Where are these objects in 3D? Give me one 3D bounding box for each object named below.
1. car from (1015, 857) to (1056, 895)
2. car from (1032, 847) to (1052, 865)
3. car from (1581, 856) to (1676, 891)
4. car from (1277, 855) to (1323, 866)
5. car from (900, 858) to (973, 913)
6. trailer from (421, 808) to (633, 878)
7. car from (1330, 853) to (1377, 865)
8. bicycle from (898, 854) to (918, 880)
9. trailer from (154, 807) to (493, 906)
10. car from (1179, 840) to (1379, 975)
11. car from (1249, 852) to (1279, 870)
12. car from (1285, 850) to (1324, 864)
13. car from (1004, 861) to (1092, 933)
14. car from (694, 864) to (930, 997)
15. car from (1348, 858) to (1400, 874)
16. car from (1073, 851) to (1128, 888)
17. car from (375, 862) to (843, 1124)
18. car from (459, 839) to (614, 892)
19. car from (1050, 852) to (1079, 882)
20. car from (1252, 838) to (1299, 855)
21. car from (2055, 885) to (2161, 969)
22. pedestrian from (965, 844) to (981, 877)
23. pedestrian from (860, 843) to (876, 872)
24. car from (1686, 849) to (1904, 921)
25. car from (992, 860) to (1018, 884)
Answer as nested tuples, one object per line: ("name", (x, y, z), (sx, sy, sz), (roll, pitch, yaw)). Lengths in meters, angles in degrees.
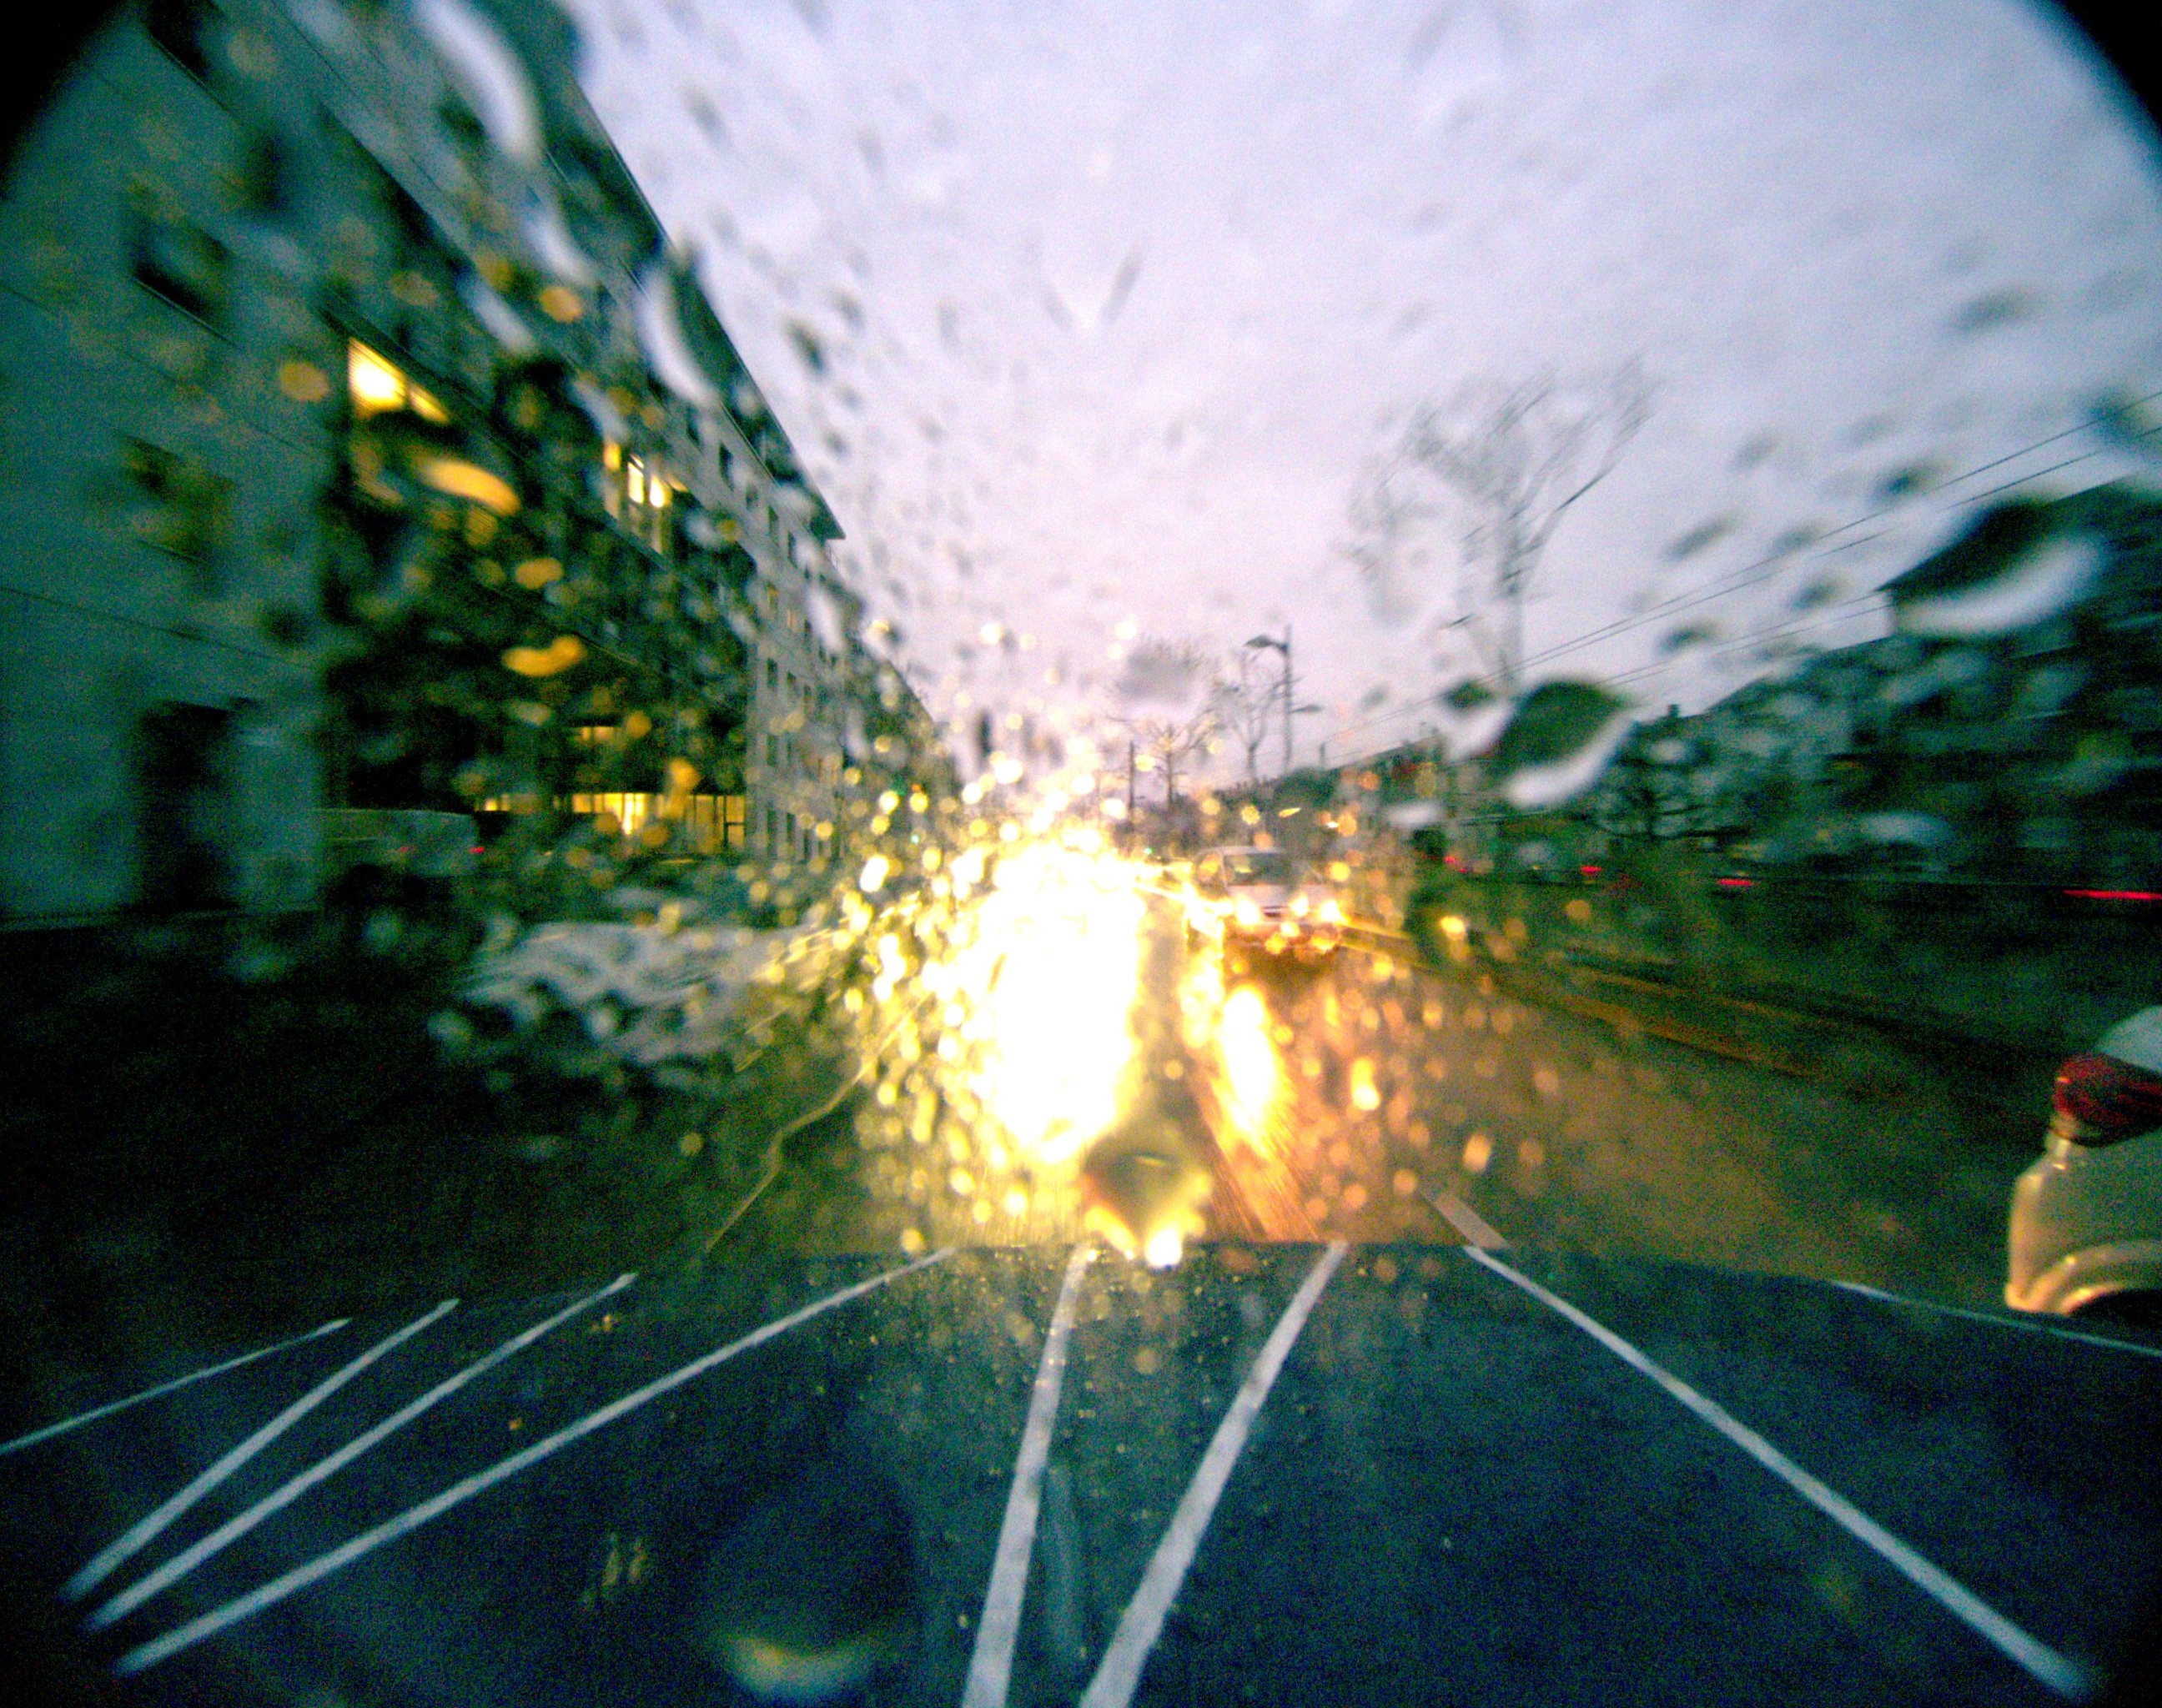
("car", (-2.084, 0.963, 34.960), (1.764, 1.520, 3.732), (-1, 1, -3))
("car", (-4.314, 0.209, 84.479), (1.999, 1.774, 3.695), (-1, 1, -1))
("car", (23.719, 0.804, 33.058), (1.591, 1.350, 3.373), (-1, 1, -3))
("car", (22.874, 0.659, 79.380), (4.393, 1.125, 1.250), (0, 2, 30))
("car", (-4.169, 0.861, 22.507), (1.600, 1.432, 4.227), (2, 0, -4))
("trailer", (-21.048, -0.388, 29.180), (6.277, 2.566, 2.208), (0, 0, -8))
("car", (25.629, 0.475, 71.500), (3.989, 1.125, 1.364), (-1, 2, 32))
("bicycle", (-7.862, 0.578, 34.644), (0.552, 1.109, 2.165), (1, 1, -4))
("trailer", (-15.707, 0.072, 15.968), (5.079, 1.900, 2.131), (0, -1, 2))
("car", (2.794, 0.657, 11.719), (2.021, 1.667, 3.999), (-1, 1, 0))
("car", (16.876, 0.623, 70.302), (1.527, 1.630, 3.746), (0, 1, -6))
("car", (24.803, 0.356, 84.383), (4.002, 1.496, 1.315), (0, 2, 31))
("car", (-0.849, 0.896, 17.420), (1.758, 1.418, 3.802), (-1, 0, -6))
("car", (-3.378, 0.872, 10.489), (1.759, 1.395, 4.249), (1, 0, 0))
("car", (25.402, 1.030, 65.905), (3.989, 1.248, 1.446), (-1, 2, 30))
("car", (0.810, 0.628, 33.724), (1.976, 1.492, 4.089), (-2, 0, -5))
("car", (-3.098, 0.787, 5.880), (1.596, 1.386, 3.485), (1, 0, -4))
("car", (-15.744, 0.268, 22.298), (1.637, 1.363, 4.527), (2, 1, -6))
("car", (-1.113, 0.812, 48.814), (1.730, 1.730, 4.052), (-1, 1, -3))
("car", (26.307, -1.048, 102.904), (5.893, 2.242, 1.824), (0, 2, 30))
("car", (25.266, 1.711, 16.993), (1.696, 1.749, 3.998), (-1, 1, -4))
("pedestrian", (-6.176, 0.366, 43.570), (0.773, 1.798, 0.698), (4, 2, -7))
("pedestrian", (-12.998, 0.223, 46.381), (0.739, 1.726, 0.702), (-2, 2, -6))
("car", (21.846, 0.839, 23.621), (2.028, 1.902, 4.899), (-1, 1, -3))
("car", (-5.828, 1.347, 58.461), (1.610, 1.666, 3.684), (-1, 1, -1))
